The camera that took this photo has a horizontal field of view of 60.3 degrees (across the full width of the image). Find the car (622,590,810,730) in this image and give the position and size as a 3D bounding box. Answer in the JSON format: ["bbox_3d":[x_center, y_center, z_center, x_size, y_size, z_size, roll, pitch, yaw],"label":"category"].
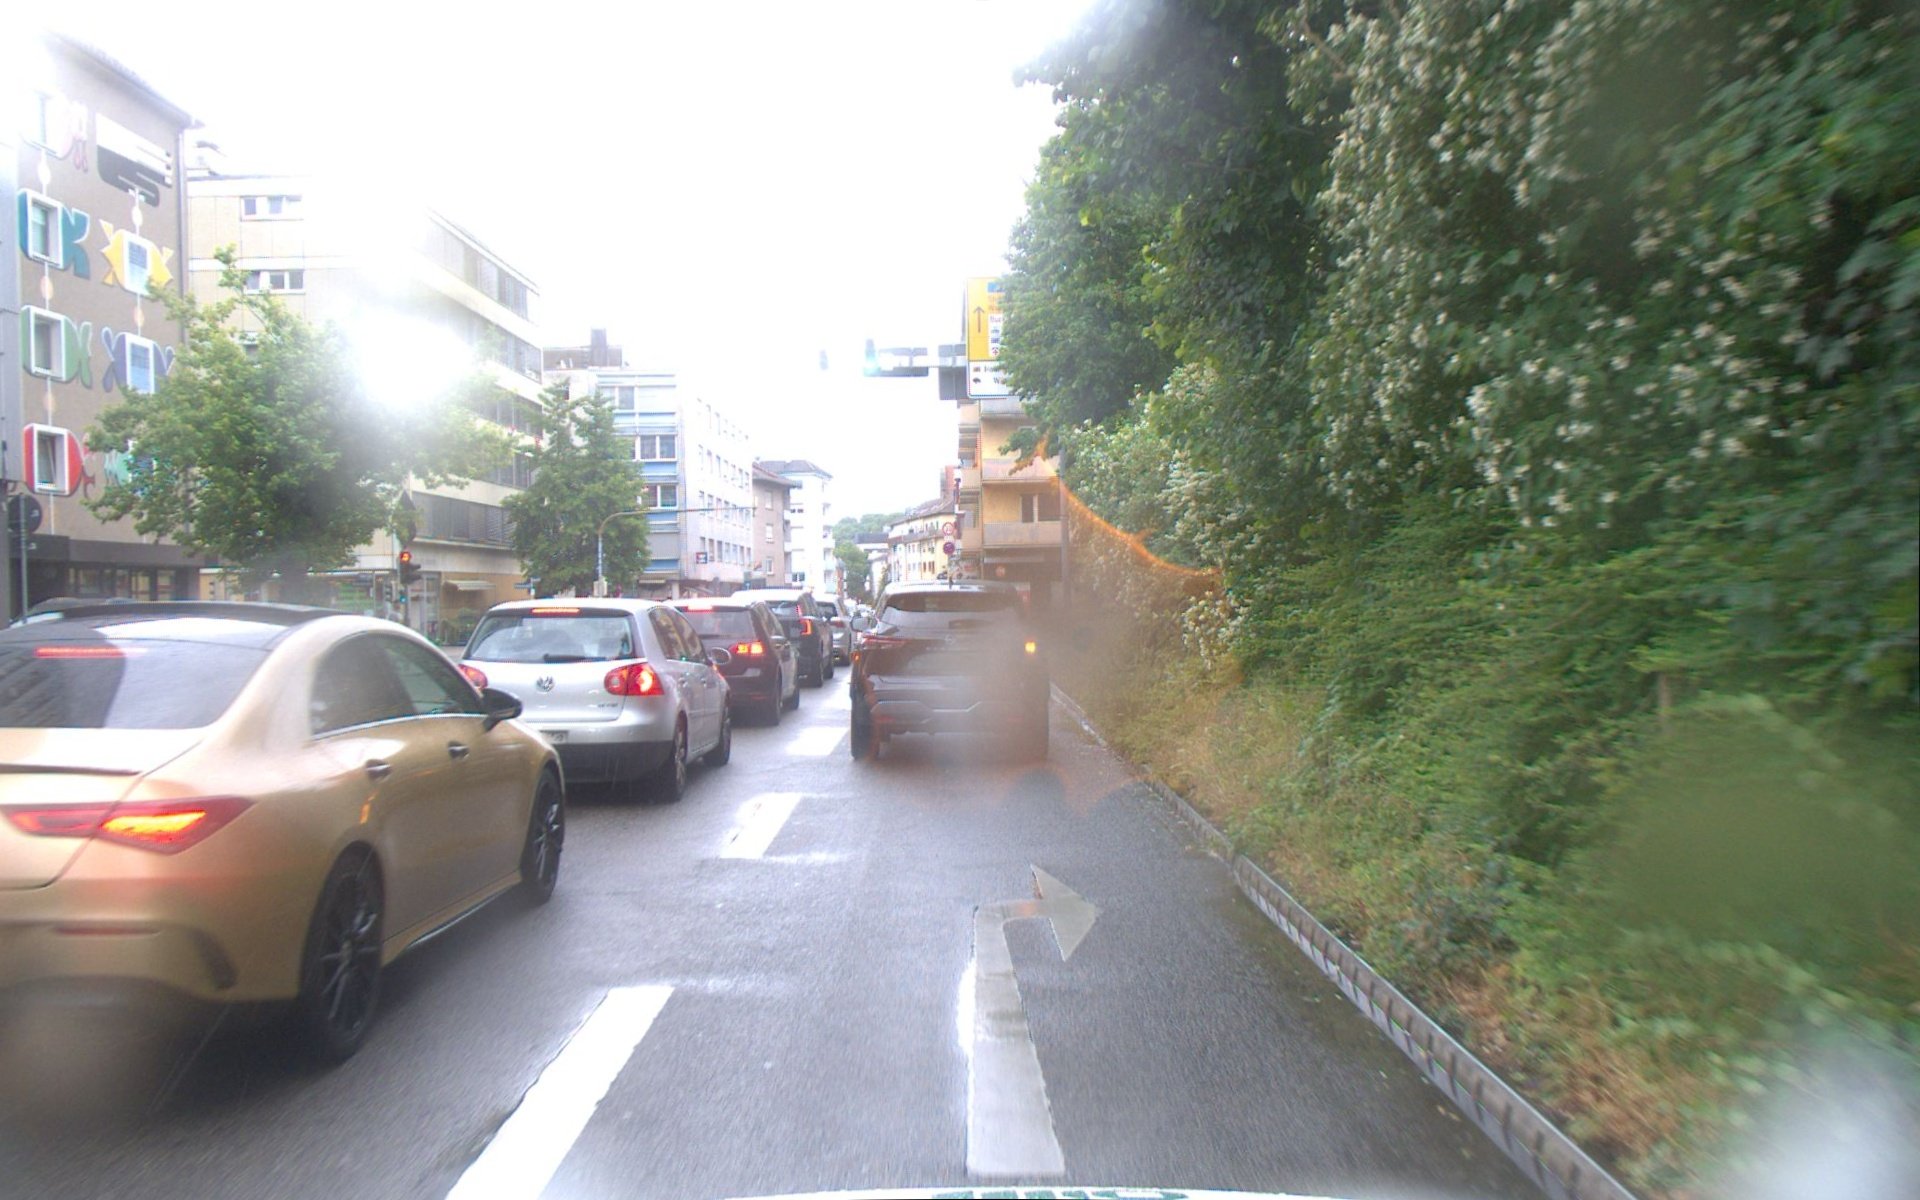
[{"bbox_3d":[-2.872,0.653,20.218,1.720,1.478,3.999,-2,0,-1],"label":"car"}]

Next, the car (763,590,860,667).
[{"bbox_3d":[-3.101,0.554,35.184,1.731,1.469,3.999,-2,1,-1],"label":"car"}]

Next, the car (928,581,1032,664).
[{"bbox_3d":[0.574,0.554,43.664,1.951,2.049,4.004,-1,0,12],"label":"car"}]

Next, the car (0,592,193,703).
[{"bbox_3d":[-14.797,0.742,28.154,1.508,1.736,4.287,0,0,-1],"label":"car"}]

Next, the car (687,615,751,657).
[{"bbox_3d":[-10.436,1.529,71.950,1.953,1.520,4.089,-5,1,2],"label":"car"}]

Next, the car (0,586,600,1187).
[{"bbox_3d":[-2.916,0.721,6.446,2.024,1.489,4.586,-1,1,0],"label":"car"}]

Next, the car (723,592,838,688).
[{"bbox_3d":[-2.925,0.604,27.605,1.580,1.445,3.965,-1,0,-2],"label":"car"}]

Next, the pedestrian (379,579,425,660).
[{"bbox_3d":[-14.644,0.512,43.453,0.923,2.048,0.884,-3,0,-10],"label":"pedestrian"}]

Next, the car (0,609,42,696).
[{"bbox_3d":[-19.620,1.048,31.365,1.953,1.683,4.509,-1,0,-2],"label":"car"}]

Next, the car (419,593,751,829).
[{"bbox_3d":[-2.763,0.733,13.115,1.708,1.513,4.160,-2,0,-1],"label":"car"}]

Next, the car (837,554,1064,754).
[{"bbox_3d":[-0.144,0.445,16.061,1.920,1.681,3.998,0,0,-2],"label":"car"}]

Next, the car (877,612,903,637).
[{"bbox_3d":[-6.152,2.117,146.196,1.953,2.048,4.000,-3,0,1],"label":"car"}]
